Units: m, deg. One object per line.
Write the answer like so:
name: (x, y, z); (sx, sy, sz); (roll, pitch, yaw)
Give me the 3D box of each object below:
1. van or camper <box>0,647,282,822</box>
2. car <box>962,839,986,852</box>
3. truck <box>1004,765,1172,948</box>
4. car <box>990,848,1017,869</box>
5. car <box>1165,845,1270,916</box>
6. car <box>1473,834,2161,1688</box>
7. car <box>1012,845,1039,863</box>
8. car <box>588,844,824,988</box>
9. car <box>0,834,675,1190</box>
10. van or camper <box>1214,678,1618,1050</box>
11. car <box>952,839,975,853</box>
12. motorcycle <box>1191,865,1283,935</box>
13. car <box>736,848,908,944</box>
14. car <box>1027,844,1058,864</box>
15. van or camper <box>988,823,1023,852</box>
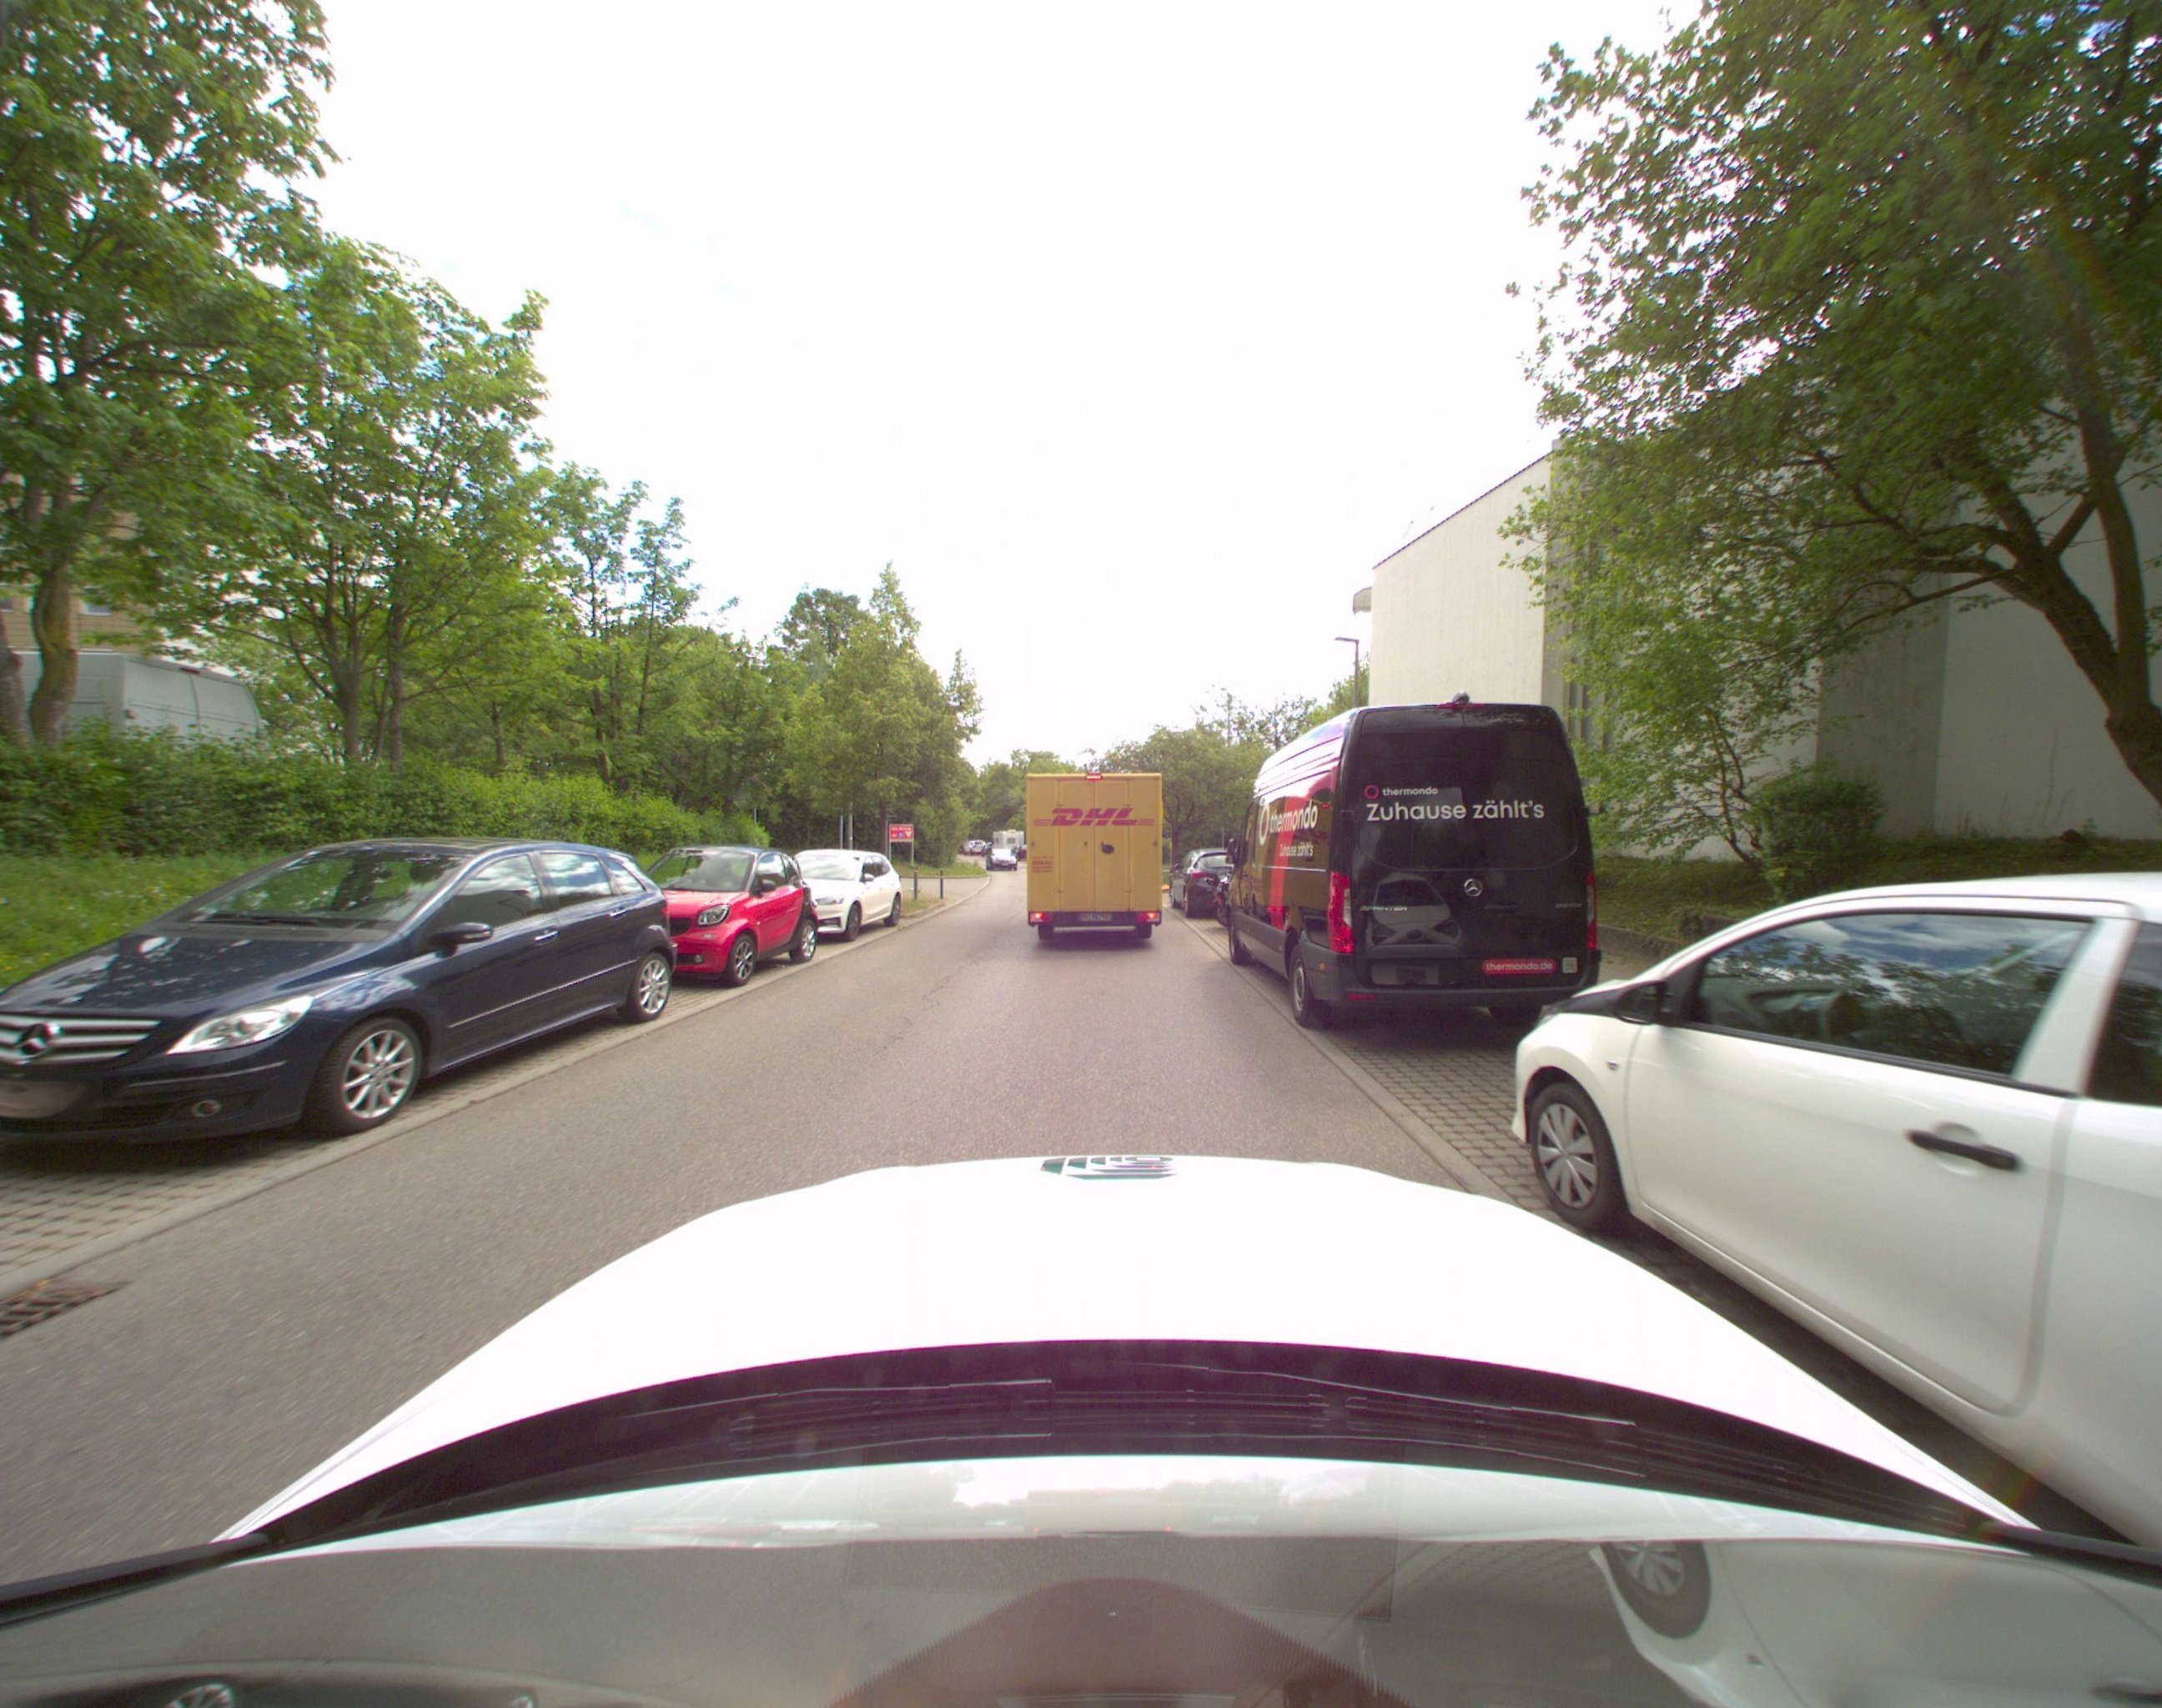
van or camper: (-14.179, -1.522, 10.871); (4.844, 2.085, 1.998); (1, 2, -4)
car: (-12.775, -1.026, 96.949); (1.852, 1.529, 3.969); (0, 2, -24)
truck: (0.102, -0.003, 15.718); (2.458, 2.702, 6.823); (-2, 1, 0)
car: (-5.202, 0.282, 55.100); (1.671, 1.355, 3.965); (1, 1, -3)
car: (3.011, 0.552, 18.679); (1.723, 1.433, 3.968); (0, 0, 0)
car: (2.671, 0.698, 2.265); (1.557, 1.496, 3.330); (-1, 1, 0)
car: (-5.321, -0.040, 77.643); (1.847, 1.529, 3.980); (1, 2, -15)
car: (-4.435, 0.643, 10.048); (1.522, 1.506, 2.715); (1, 1, 3)
car: (-4.740, 0.691, 5.592); (1.878, 1.559, 3.839); (2, 1, 1)
van or camper: (2.766, 0.065, 8.382); (1.986, 2.523, 5.473); (-2, 0, 2)
car: (-14.793, -1.070, 102.447); (1.852, 1.613, 3.969); (0, 2, -24)
motorcycle: (2.733, 0.779, 14.558); (0.899, 1.111, 2.077); (1, 0, -11)
car: (-4.431, 0.635, 14.598); (1.668, 1.436, 3.971); (1, 1, 2)
car: (-3.372, -0.004, 70.297); (1.847, 1.529, 3.980); (1, 2, -15)
van or camper: (-7.828, -1.712, 84.314); (2.332, 2.872, 5.225); (0, 1, -20)
